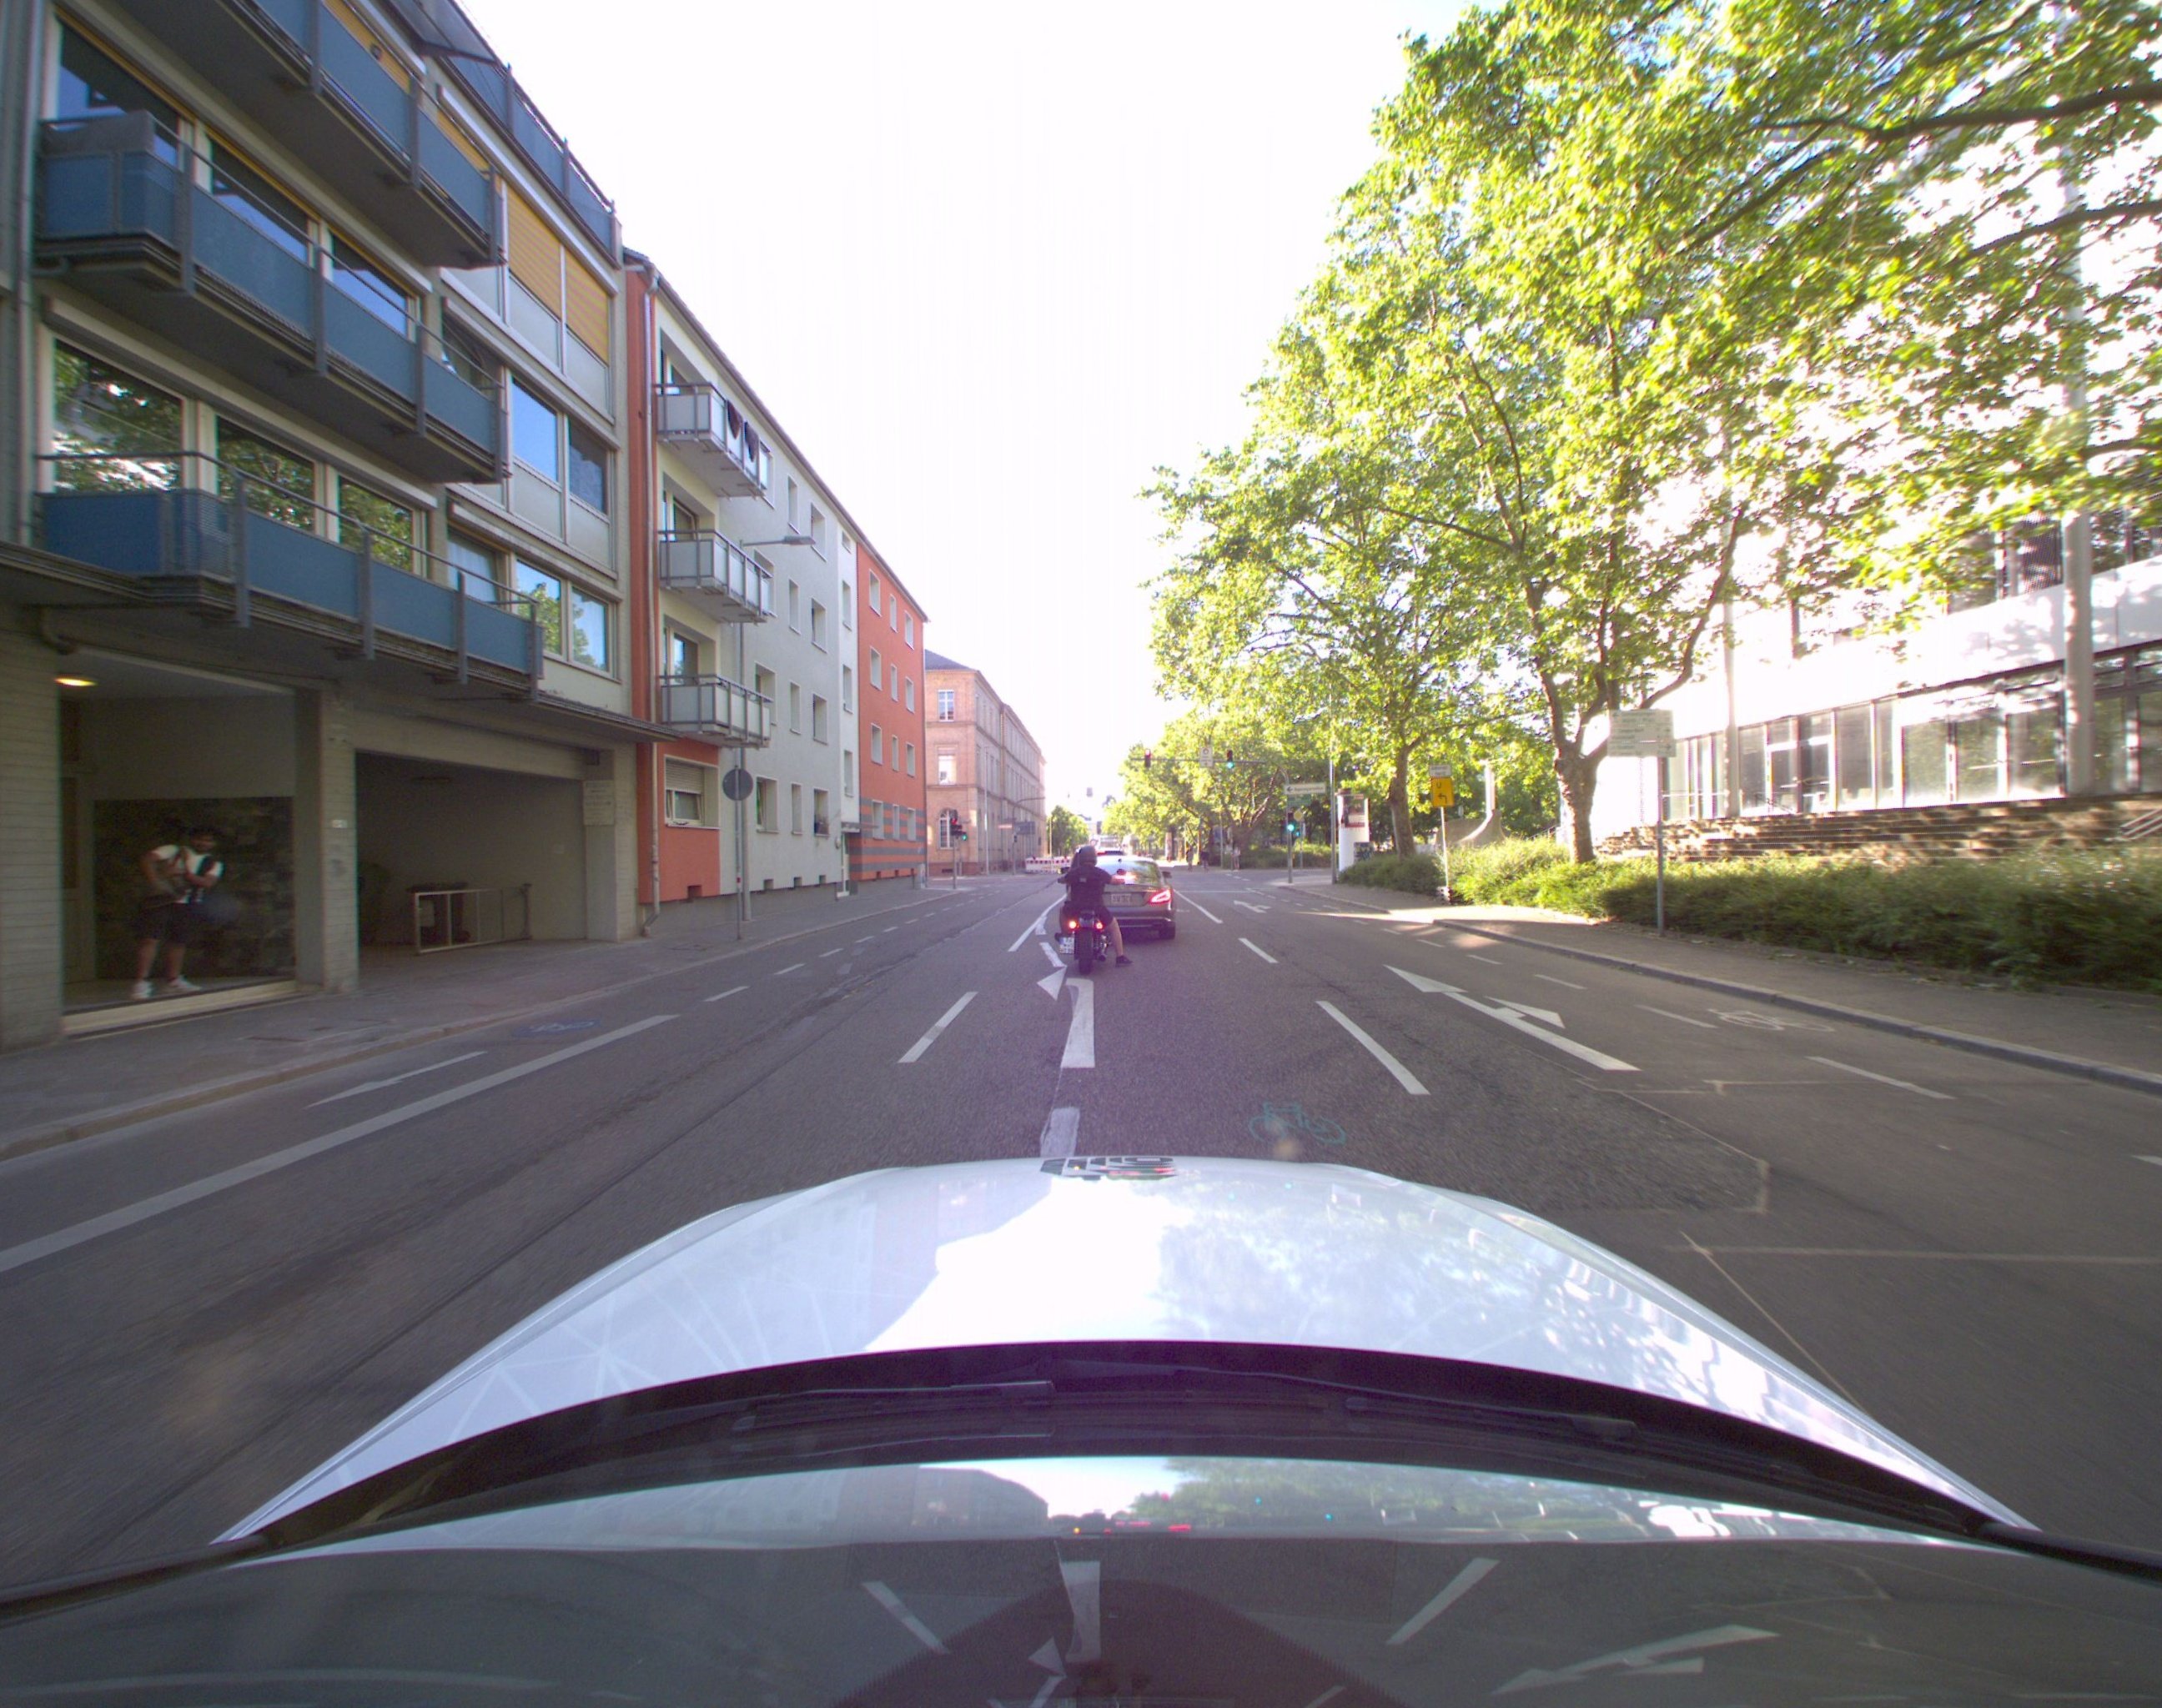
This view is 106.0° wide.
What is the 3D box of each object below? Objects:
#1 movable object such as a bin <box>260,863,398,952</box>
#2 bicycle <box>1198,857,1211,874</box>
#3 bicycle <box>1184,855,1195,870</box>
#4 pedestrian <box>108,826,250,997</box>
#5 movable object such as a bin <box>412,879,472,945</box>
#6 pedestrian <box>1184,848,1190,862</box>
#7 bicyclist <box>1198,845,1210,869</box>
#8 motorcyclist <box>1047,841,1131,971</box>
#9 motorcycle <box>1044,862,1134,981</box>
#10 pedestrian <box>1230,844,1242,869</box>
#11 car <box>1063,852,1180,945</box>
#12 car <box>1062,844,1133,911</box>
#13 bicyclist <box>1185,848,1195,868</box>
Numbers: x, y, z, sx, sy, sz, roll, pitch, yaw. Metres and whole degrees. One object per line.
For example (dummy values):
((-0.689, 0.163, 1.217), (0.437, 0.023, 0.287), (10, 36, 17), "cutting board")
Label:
((-12.720, 0.886, 13.828), (1.313, 1.414, 1.080), (-1, 0, 1), "movable object such as a bin")
((8.008, 0.715, 52.914), (0.653, 1.070, 1.928), (0, 0, 2), "bicycle")
((8.291, 0.649, 62.144), (0.653, 1.111, 2.186), (0, 0, 2), "bicycle")
((-8.758, 0.530, 7.937), (0.511, 1.579, 0.756), (-1, 0, 2), "pedestrian")
((-11.000, 0.987, 14.027), (0.487, 1.088, 0.654), (-1, 0, 2), "movable object such as a bin")
((12.193, 0.133, 93.542), (0.590, 1.578, 0.527), (0, -1, 2), "pedestrian")
((8.002, 0.207, 52.967), (0.653, 1.530, 0.852), (0, 0, 2), "bicyclist")
((0.122, 0.645, 10.878), (1.008, 1.602, 1.406), (-1, 0, 2), "motorcyclist")
((0.134, 0.793, 10.677), (1.008, 1.306, 2.674), (-1, 0, 2), "motorcycle")
((11.149, 0.154, 58.396), (0.574, 1.774, 0.619), (1, -1, -32), "pedestrian")
((0.704, 0.697, 14.712), (1.821, 1.420, 3.816), (-1, 0, 2), "car")
((0.372, 0.587, 22.168), (1.626, 1.650, 3.846), (0, 0, -3), "car")
((8.295, 0.326, 62.232), (0.653, 1.530, 0.906), (0, 0, 2), "bicyclist")
